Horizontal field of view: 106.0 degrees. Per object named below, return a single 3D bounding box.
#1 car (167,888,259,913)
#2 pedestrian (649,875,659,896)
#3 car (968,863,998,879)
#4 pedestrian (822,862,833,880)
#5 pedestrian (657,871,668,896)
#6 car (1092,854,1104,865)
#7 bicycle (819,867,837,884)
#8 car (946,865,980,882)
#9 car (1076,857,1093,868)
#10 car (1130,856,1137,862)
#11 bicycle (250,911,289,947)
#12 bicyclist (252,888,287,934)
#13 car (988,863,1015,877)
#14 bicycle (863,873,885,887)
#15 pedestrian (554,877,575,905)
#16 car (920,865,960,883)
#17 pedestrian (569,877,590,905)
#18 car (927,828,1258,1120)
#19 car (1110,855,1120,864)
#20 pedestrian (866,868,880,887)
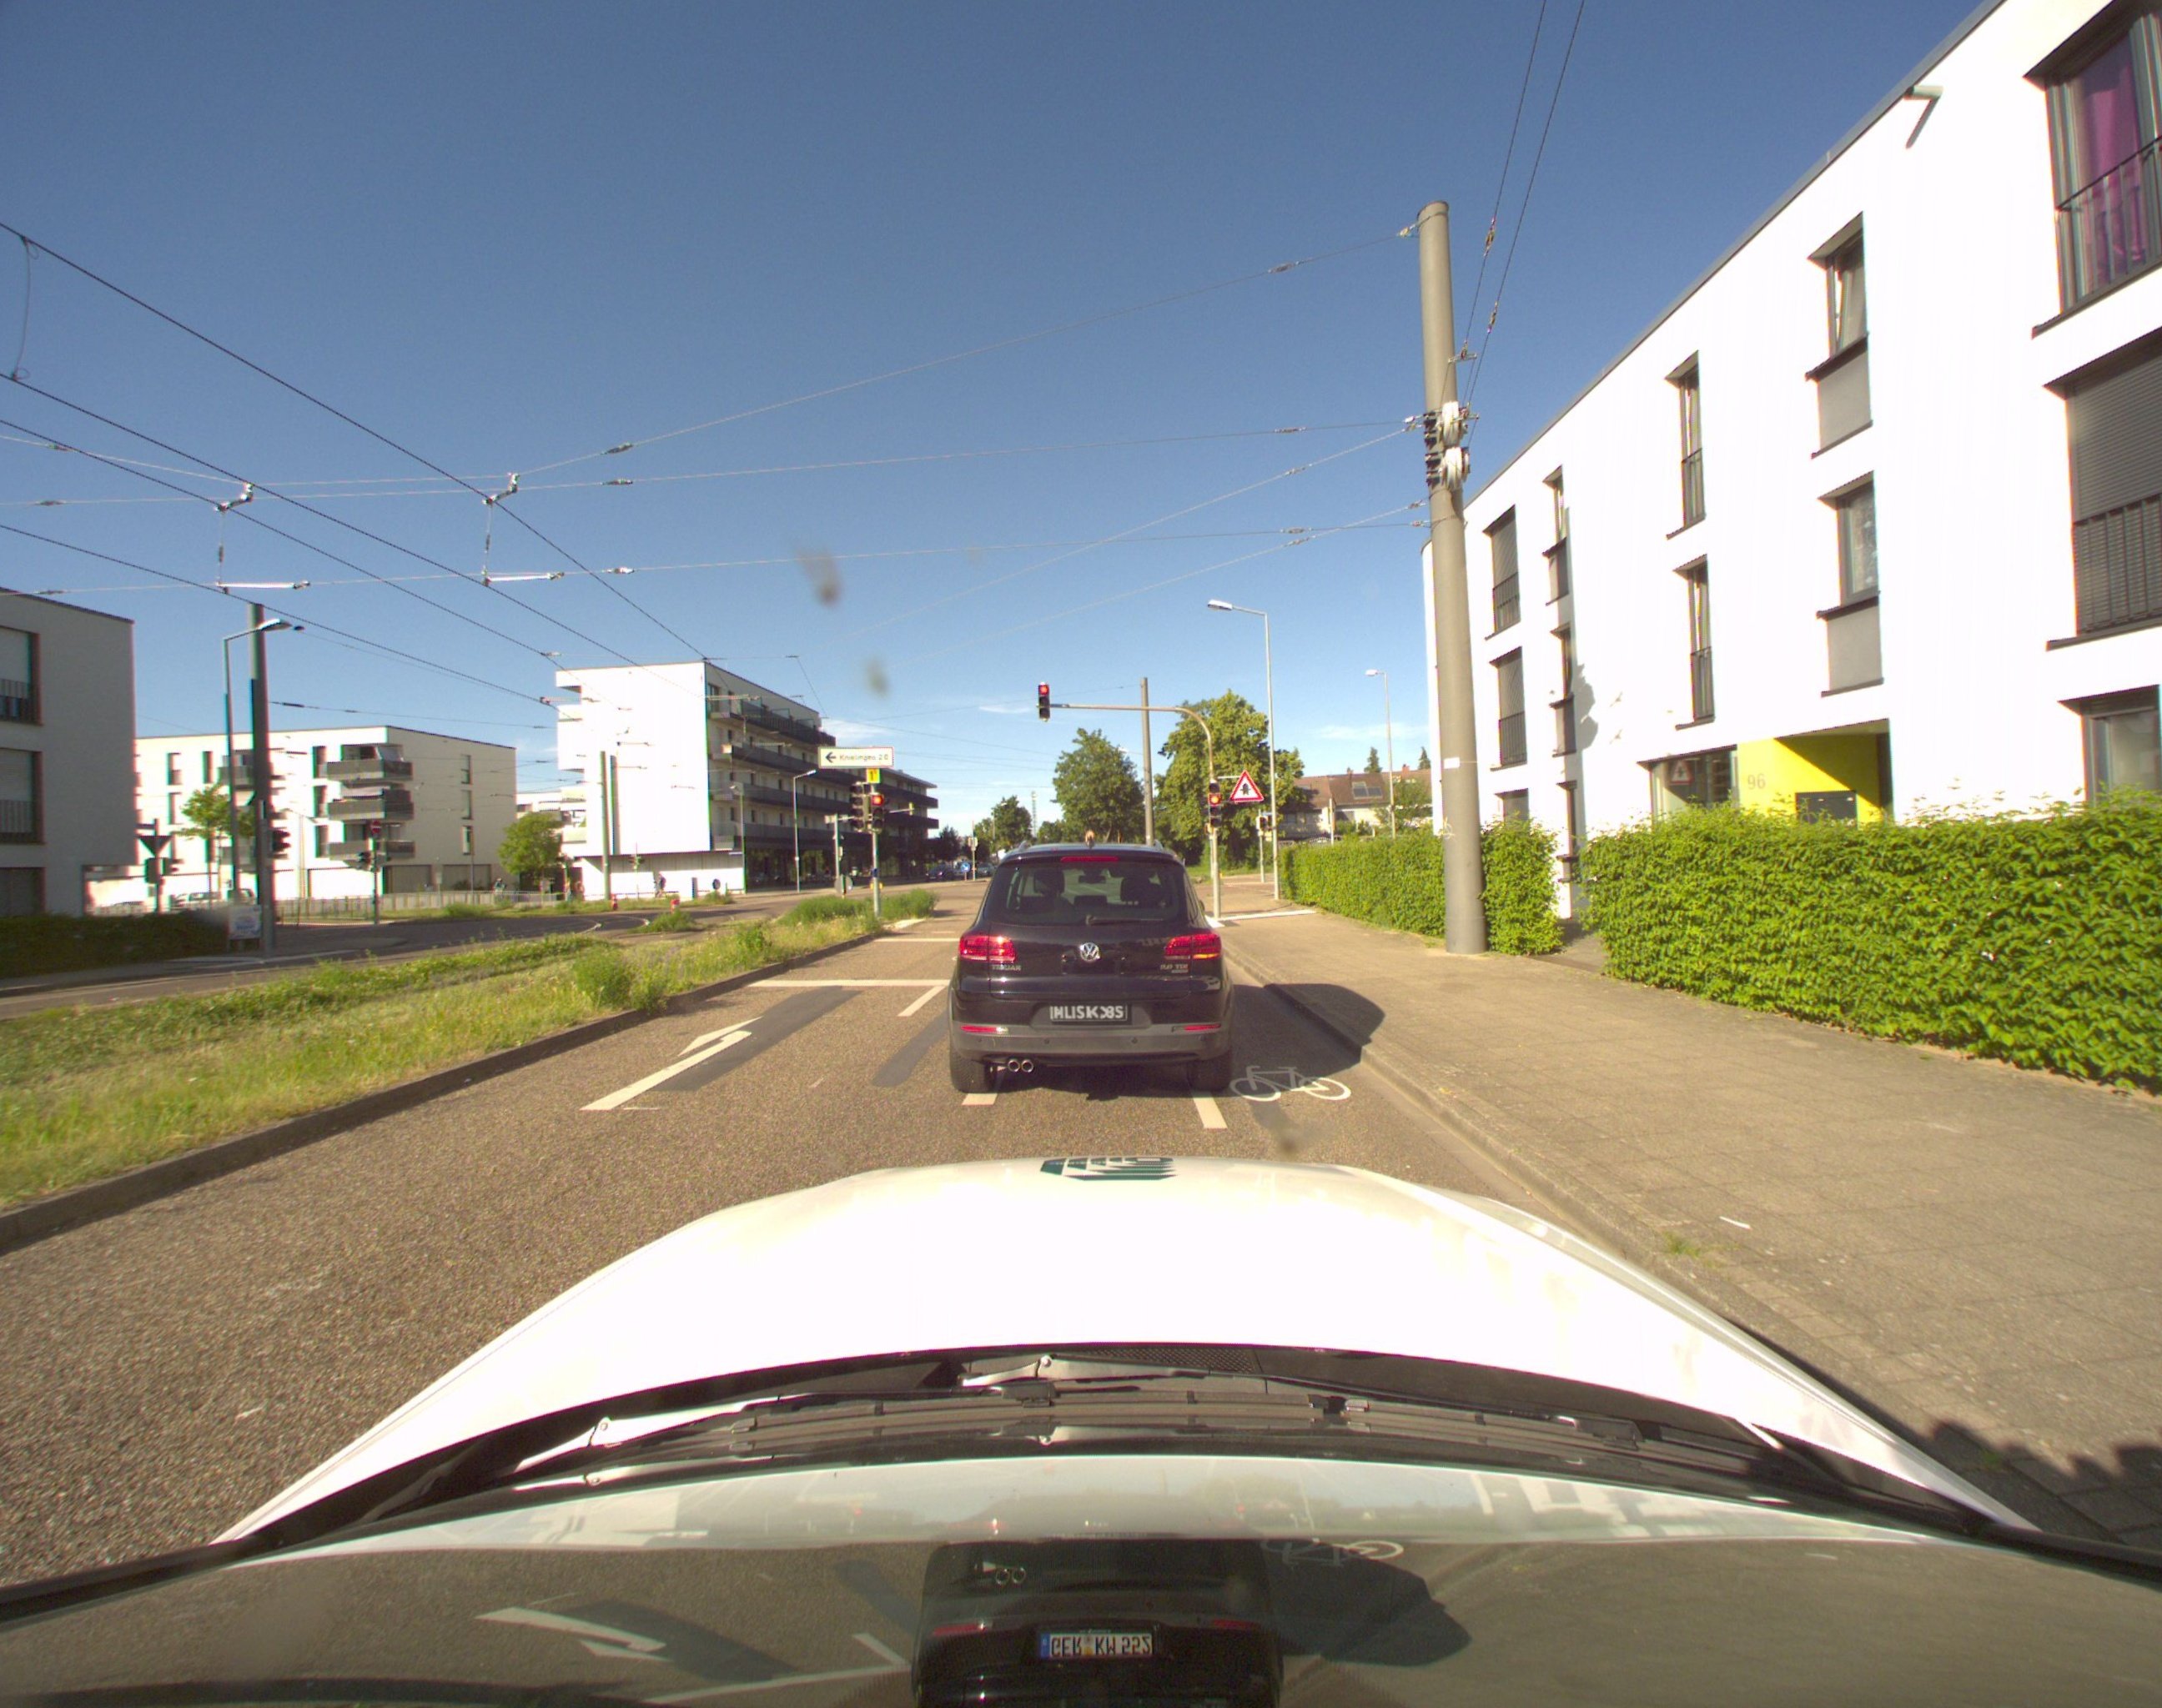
[{"bbox_3d":[-58.800,3.173,55.216,4.305,1.574,2.002,0,-1,4],"label":"car"},{"bbox_3d":[-29.959,2.198,57.128,0.440,1.503,0.517,0,-1,-4],"label":"pedestrian"},{"bbox_3d":[-10.200,1.797,85.349,1.981,1.574,4.350,-1,-1,9],"label":"car"},{"bbox_3d":[-20.487,1.365,65.820,0.639,1.509,0.597,-1,-1,6],"label":"pedestrian"},{"bbox_3d":[-29.620,2.080,57.675,0.542,1.744,0.517,0,-1,-4],"label":"pedestrian"},{"bbox_3d":[2.930,0.941,139.047,1.855,1.720,3.690,-2,0,4],"label":"car"},{"bbox_3d":[-20.471,1.722,65.910,0.627,1.332,1.916,-1,-1,7],"label":"bicycle"},{"bbox_3d":[-11.341,1.874,78.618,1.981,1.574,4.350,-1,-1,9],"label":"car"},{"bbox_3d":[0.555,1.262,119.372,1.852,1.485,4.121,-3,0,9],"label":"car"},{"bbox_3d":[14.924,1.387,231.791,1.987,1.684,4.000,0,-1,0],"label":"car"},{"bbox_3d":[-29.349,2.703,29.481,0.827,1.124,1.839,0,-1,-39],"label":"bicycle"},{"bbox_3d":[-29.359,2.047,29.475,0.788,1.614,0.634,0,-1,-34],"label":"bicyclist"},{"bbox_3d":[-8.891,1.767,91.399,1.981,1.574,4.350,-1,-1,9],"label":"car"},{"bbox_3d":[-16.164,2.038,63.549,0.766,0.989,2.438,-1,-1,9],"label":"bicycle"},{"bbox_3d":[-29.640,2.122,46.772,0.770,1.605,0.741,0,-1,-5],"label":"pedestrian"},{"bbox_3d":[-12.426,1.738,71.891,1.980,1.574,4.353,-1,-1,11],"label":"car"},{"bbox_3d":[-28.817,2.116,46.781,0.770,1.605,0.741,0,-1,-5],"label":"pedestrian"},{"bbox_3d":[0.127,0.695,6.610,1.862,1.637,4.001,0,-1,2],"label":"car"},{"bbox_3d":[7.348,1.202,177.227,1.984,1.836,4.005,0,-1,5],"label":"car"},{"bbox_3d":[-16.195,1.810,63.491,0.707,1.474,0.956,-1,-1,9],"label":"pedestrian"}]
